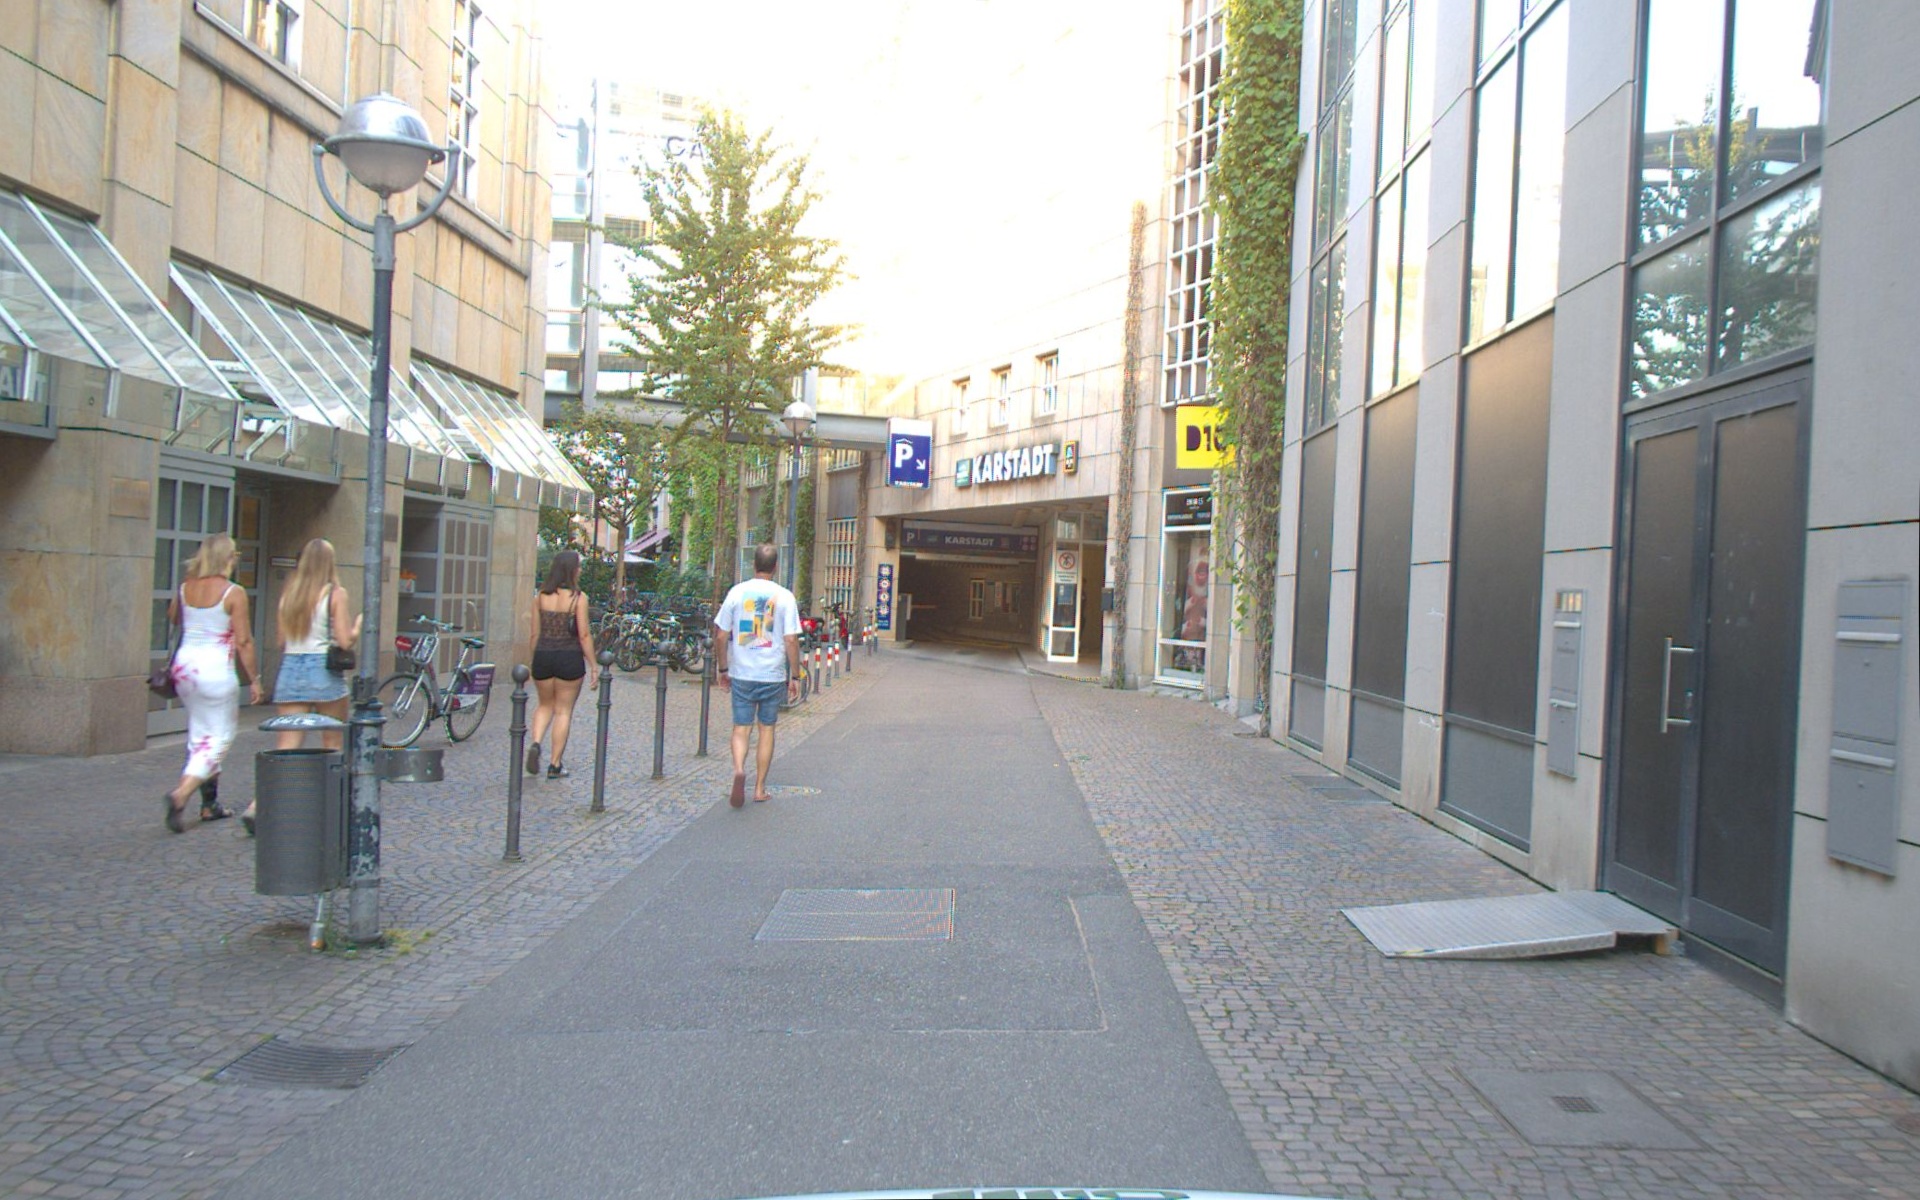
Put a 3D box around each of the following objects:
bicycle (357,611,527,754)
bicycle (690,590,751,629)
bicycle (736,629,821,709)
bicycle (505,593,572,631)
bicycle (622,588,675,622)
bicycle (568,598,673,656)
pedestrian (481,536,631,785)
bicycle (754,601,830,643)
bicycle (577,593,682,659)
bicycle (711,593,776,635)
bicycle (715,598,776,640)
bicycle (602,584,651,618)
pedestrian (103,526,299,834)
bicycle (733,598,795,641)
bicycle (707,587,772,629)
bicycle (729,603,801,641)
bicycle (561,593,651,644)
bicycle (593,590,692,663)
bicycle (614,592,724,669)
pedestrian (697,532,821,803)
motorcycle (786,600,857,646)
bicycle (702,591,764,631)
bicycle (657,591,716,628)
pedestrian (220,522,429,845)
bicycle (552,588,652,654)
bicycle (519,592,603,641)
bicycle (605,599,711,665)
[{"bbox_3d":[-4.532,0.689,14.606,0.510,1.157,1.765,2,0,16],"label":"bicycle"},{"bbox_3d":[-7.285,0.296,50.307,1.747,1.134,0.539,2,0,-21],"label":"bicycle"},{"bbox_3d":[-2.331,0.871,21.421,0.482,0.955,1.660,3,0,15],"label":"bicycle"},{"bbox_3d":[-11.806,0.335,46.288,1.755,1.037,0.478,1,0,-23],"label":"bicycle"},{"bbox_3d":[-10.993,0.168,58.338,1.745,1.134,0.540,2,0,-18],"label":"bicycle"},{"bbox_3d":[-6.465,0.514,31.520,1.868,1.070,0.530,1,0,-23],"label":"bicycle"},{"bbox_3d":[-3.109,0.447,12.811,0.768,1.826,0.973,2,0,7],"label":"pedestrian"},{"bbox_3d":[-4.230,0.562,41.652,1.821,0.999,0.461,2,0,-21],"label":"bicycle"},{"bbox_3d":[-6.192,0.493,30.990,1.846,1.198,0.530,1,0,-23],"label":"bicycle"},{"bbox_3d":[-6.151,0.408,47.000,1.747,1.134,0.539,2,0,-21],"label":"bicycle"},{"bbox_3d":[-5.764,0.502,44.430,1.517,1.067,0.572,2,0,-20],"label":"bicycle"},{"bbox_3d":[-12.798,0.041,63.471,1.747,1.211,0.583,2,0,-20],"label":"bicycle"},{"bbox_3d":[-4.420,0.444,9.686,0.660,1.693,0.861,2,0,3],"label":"pedestrian"},{"bbox_3d":[-5.148,0.505,43.453,1.517,1.067,0.572,2,0,-20],"label":"bicycle"},{"bbox_3d":[-6.403,0.227,48.075,1.747,1.134,0.539,2,0,-21],"label":"bicycle"},{"bbox_3d":[-5.010,0.578,42.502,1.747,0.919,0.461,2,0,-21],"label":"bicycle"},{"bbox_3d":[-7.696,0.410,35.978,1.851,1.061,0.530,1,0,-23],"label":"bicycle"},{"bbox_3d":[-5.595,0.470,29.144,1.631,1.252,0.530,1,0,-23],"label":"bicycle"},{"bbox_3d":[-4.899,0.524,27.866,1.742,1.252,0.530,1,0,-23],"label":"bicycle"},{"bbox_3d":[-1.425,0.467,11.887,0.727,1.854,0.878,2,0,0],"label":"pedestrian"},{"bbox_3d":[-3.357,0.553,40.035,1.638,1.069,0.461,2,0,-21],"label":"motorcycle"},{"bbox_3d":[-6.755,0.334,49.276,1.747,1.134,0.539,2,0,-21],"label":"bicycle"},{"bbox_3d":[-8.695,0.310,52.563,1.747,1.134,0.539,2,0,-21],"label":"bicycle"},{"bbox_3d":[-3.683,0.461,9.666,0.790,1.759,0.948,2,0,-1],"label":"pedestrian"},{"bbox_3d":[-6.968,0.408,32.194,1.808,1.246,0.530,1,0,-23],"label":"bicycle"},{"bbox_3d":[-9.106,0.376,37.736,1.799,1.061,0.530,1,0,-23],"label":"bicycle"},{"bbox_3d":[-5.482,0.580,30.036,1.811,1.142,0.530,1,0,-23],"label":"bicycle"}]
